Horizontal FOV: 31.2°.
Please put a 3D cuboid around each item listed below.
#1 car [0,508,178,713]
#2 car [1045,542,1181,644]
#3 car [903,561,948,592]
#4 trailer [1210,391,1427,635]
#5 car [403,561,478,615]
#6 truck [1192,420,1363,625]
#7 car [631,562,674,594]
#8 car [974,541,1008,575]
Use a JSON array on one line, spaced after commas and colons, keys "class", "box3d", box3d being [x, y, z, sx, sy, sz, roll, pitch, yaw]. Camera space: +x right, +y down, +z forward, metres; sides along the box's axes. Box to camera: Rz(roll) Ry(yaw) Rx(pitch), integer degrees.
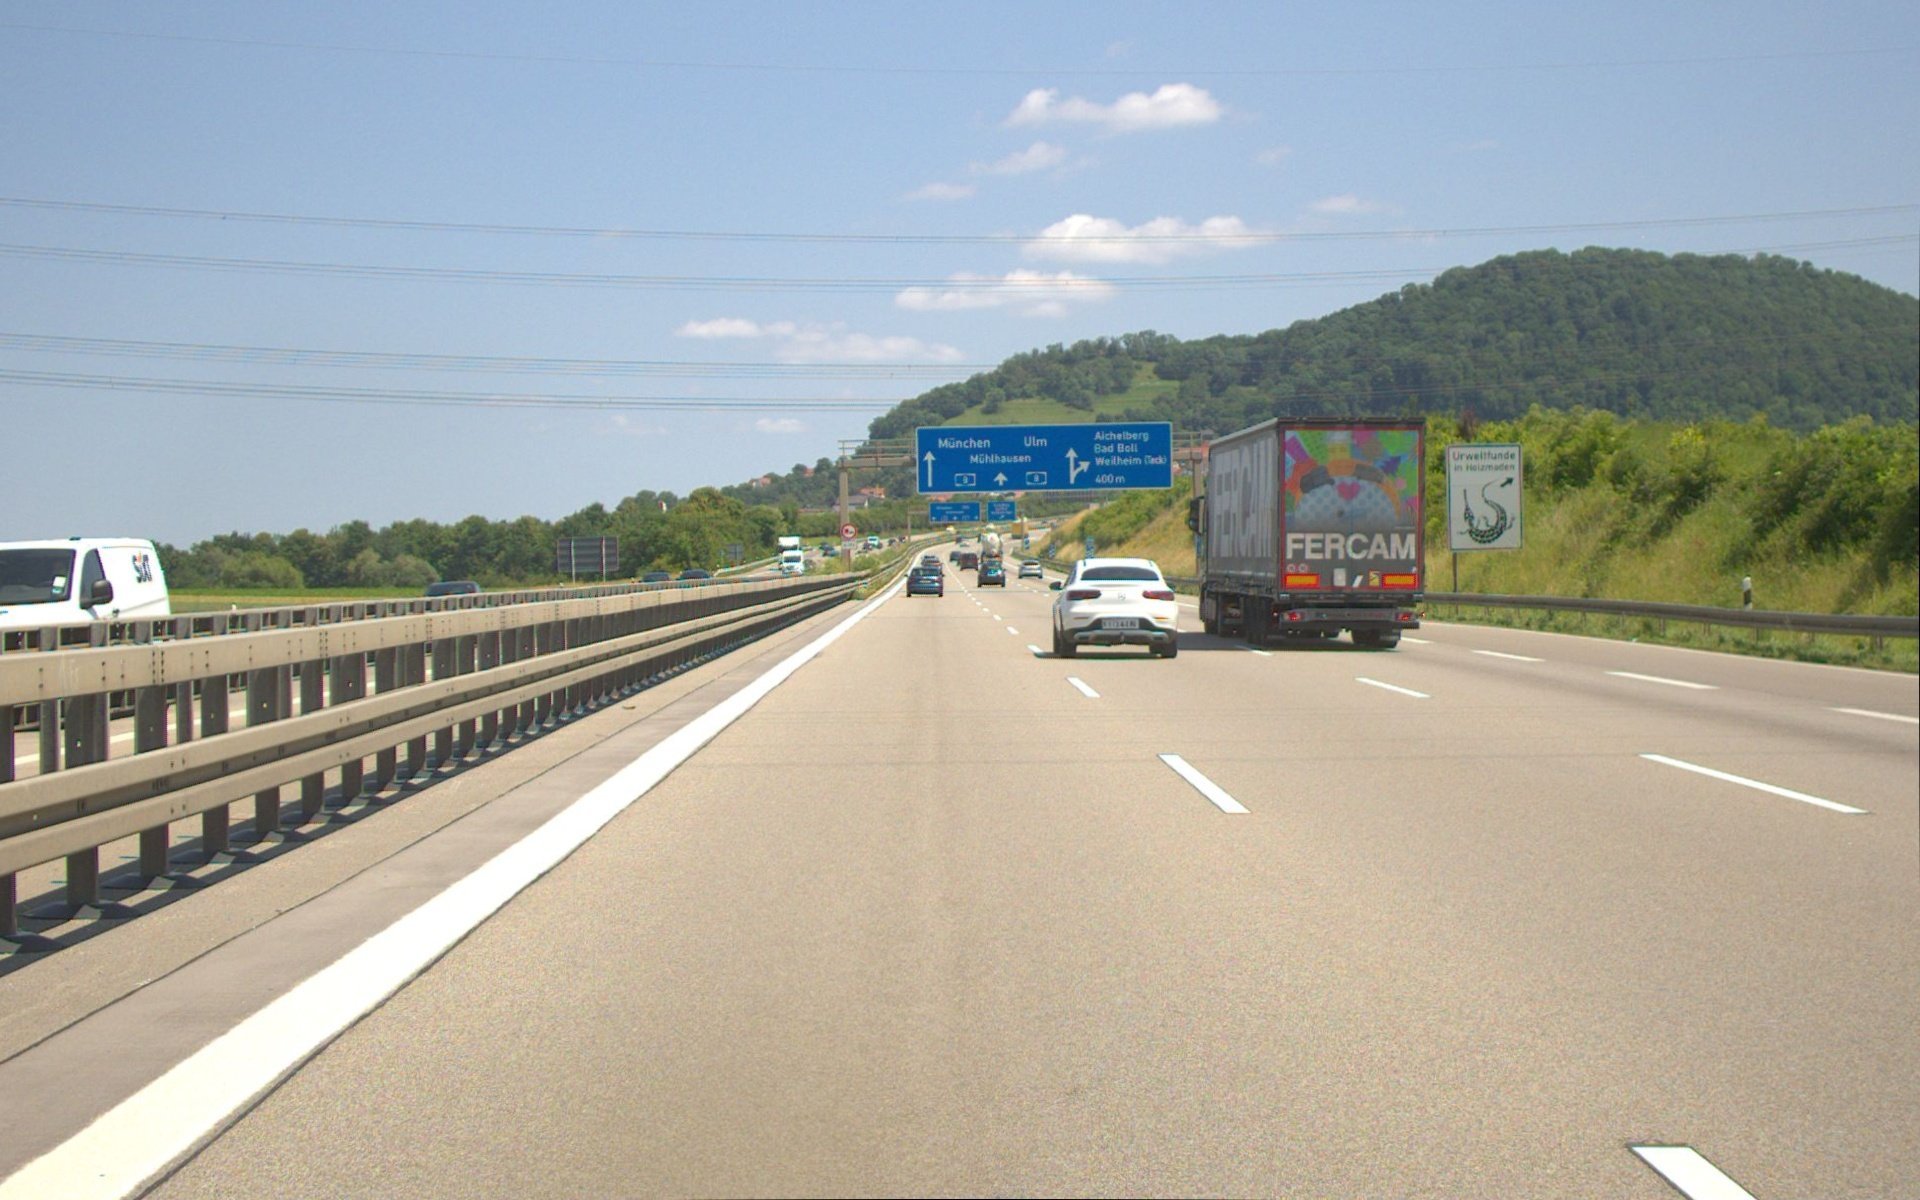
[{"class": "car", "box3d": [-9.838, 0.096, 36.460, 1.984, 2.003, 4.649, -3, 1, -1]}, {"class": "car", "box3d": [2.447, -0.134, 56.214, 1.914, 1.575, 5.231, 1, 0, -1]}, {"class": "car", "box3d": [-1.596, -1.103, 158.826, 1.993, 1.384, 4.000, 1, 0, 0]}, {"class": "trailer", "box3d": [6.555, -1.530, 64.653, 2.725, 4.141, 11.808, 1, 0, 0]}, {"class": "car", "box3d": [-13.985, -0.338, 92.670, 1.482, 1.420, 3.609, 1, 0, -1]}, {"class": "truck", "box3d": [6.500, -1.559, 71.258, 2.752, 4.007, 6.789, 1, 0, -1]}, {"class": "car", "box3d": [-14.989, -1.066, 167.542, 1.671, 1.435, 4.566, -3, 0, -1]}, {"class": "car", "box3d": [1.866, -2.506, 207.109, 1.993, 2.007, 4.000, 1, 0, 0]}]
